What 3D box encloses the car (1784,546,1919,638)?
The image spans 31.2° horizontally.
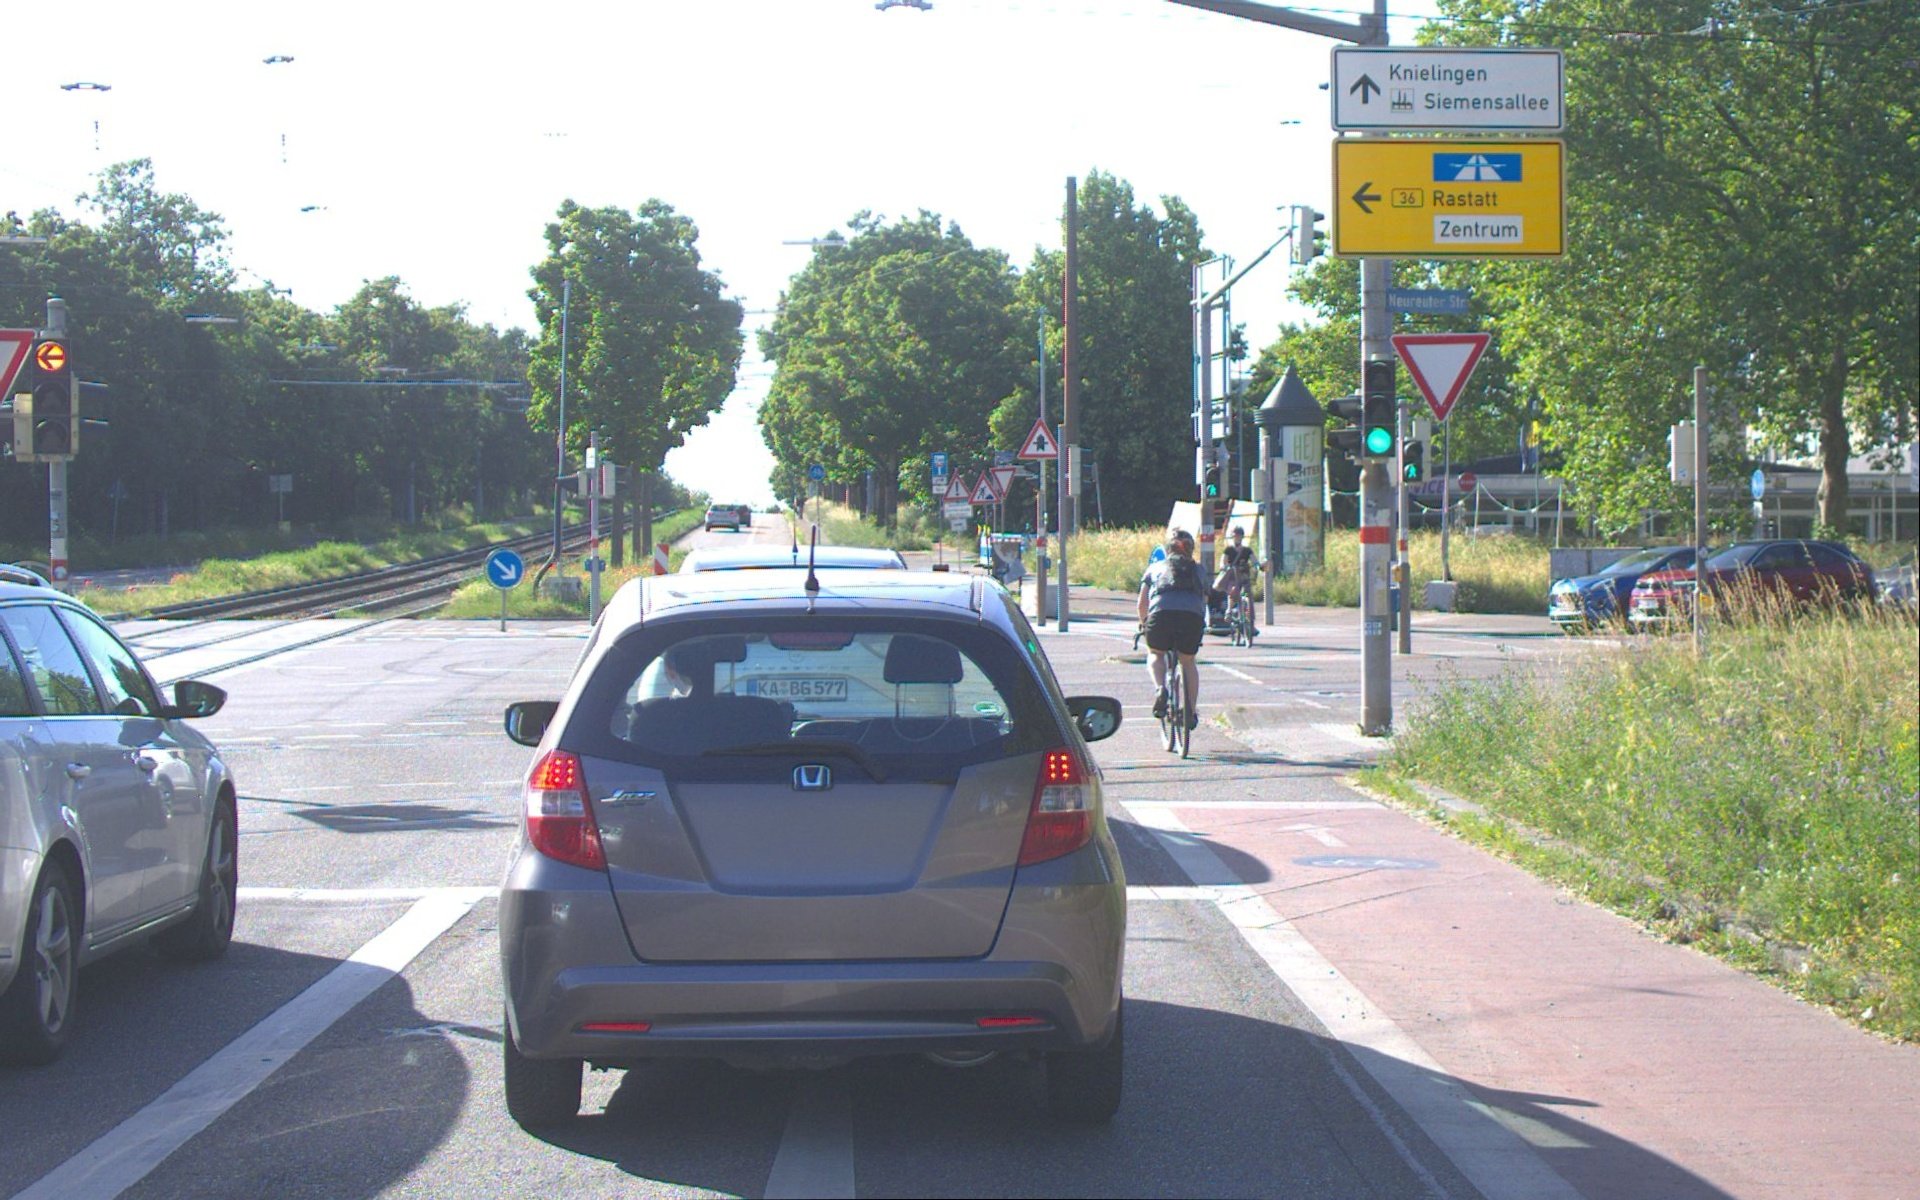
[{"bbox_3d":[16.766,-0.169,61.342,3.847,1.595,1.713,-1,1,-29],"label":"car"}]

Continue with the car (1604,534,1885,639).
[{"bbox_3d":[12.447,-0.236,54.535,4.076,1.595,1.817,-1,1,-25],"label":"car"}]

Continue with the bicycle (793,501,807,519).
[{"bbox_3d":[-10.374,-5.829,222.995,0.817,1.044,2.506,1,0,-2],"label":"bicycle"}]

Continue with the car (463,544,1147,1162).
[{"bbox_3d":[-0.402,0.597,10.306,1.670,1.510,3.674,0,1,-1],"label":"car"}]

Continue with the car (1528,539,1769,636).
[{"bbox_3d":[11.764,-0.232,58.716,3.847,1.595,1.713,-1,1,-29],"label":"car"}]

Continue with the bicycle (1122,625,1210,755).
[{"bbox_3d":[1.586,0.677,26.708,0.524,0.920,2.089,0,1,-1],"label":"bicycle"}]

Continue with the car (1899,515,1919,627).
[{"bbox_3d":[16.847,-0.466,53.029,4.480,1.705,1.921,-1,1,-29],"label":"car"}]

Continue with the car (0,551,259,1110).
[{"bbox_3d":[-3.638,0.608,11.369,1.877,1.522,4.421,0,1,-2],"label":"car"}]

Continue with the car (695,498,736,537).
[{"bbox_3d":[-12.859,-4.343,180.783,1.993,2.007,4.000,0,1,-2],"label":"car"}]

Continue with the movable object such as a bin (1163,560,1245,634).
[{"bbox_3d":[3.568,-0.056,50.423,0.908,1.065,1.317,0,1,-10],"label":"movable object such as a bin"}]

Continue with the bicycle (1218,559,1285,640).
[{"bbox_3d":[4.102,-0.019,48.510,0.466,1.115,1.821,0,1,-11],"label":"bicycle"}]

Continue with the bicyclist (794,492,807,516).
[{"bbox_3d":[-10.360,-6.195,223.013,0.817,1.519,0.966,1,0,-2],"label":"bicyclist"}]

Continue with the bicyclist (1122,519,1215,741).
[{"bbox_3d":[1.594,0.219,26.365,0.615,1.674,0.933,0,1,-2],"label":"bicyclist"}]

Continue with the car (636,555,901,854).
[{"bbox_3d":[-1.046,0.517,19.281,1.351,1.522,3.124,0,1,-2],"label":"car"}]

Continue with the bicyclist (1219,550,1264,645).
[{"bbox_3d":[4.021,-0.039,49.111,0.509,1.336,0.565,0,1,-11],"label":"bicyclist"}]
